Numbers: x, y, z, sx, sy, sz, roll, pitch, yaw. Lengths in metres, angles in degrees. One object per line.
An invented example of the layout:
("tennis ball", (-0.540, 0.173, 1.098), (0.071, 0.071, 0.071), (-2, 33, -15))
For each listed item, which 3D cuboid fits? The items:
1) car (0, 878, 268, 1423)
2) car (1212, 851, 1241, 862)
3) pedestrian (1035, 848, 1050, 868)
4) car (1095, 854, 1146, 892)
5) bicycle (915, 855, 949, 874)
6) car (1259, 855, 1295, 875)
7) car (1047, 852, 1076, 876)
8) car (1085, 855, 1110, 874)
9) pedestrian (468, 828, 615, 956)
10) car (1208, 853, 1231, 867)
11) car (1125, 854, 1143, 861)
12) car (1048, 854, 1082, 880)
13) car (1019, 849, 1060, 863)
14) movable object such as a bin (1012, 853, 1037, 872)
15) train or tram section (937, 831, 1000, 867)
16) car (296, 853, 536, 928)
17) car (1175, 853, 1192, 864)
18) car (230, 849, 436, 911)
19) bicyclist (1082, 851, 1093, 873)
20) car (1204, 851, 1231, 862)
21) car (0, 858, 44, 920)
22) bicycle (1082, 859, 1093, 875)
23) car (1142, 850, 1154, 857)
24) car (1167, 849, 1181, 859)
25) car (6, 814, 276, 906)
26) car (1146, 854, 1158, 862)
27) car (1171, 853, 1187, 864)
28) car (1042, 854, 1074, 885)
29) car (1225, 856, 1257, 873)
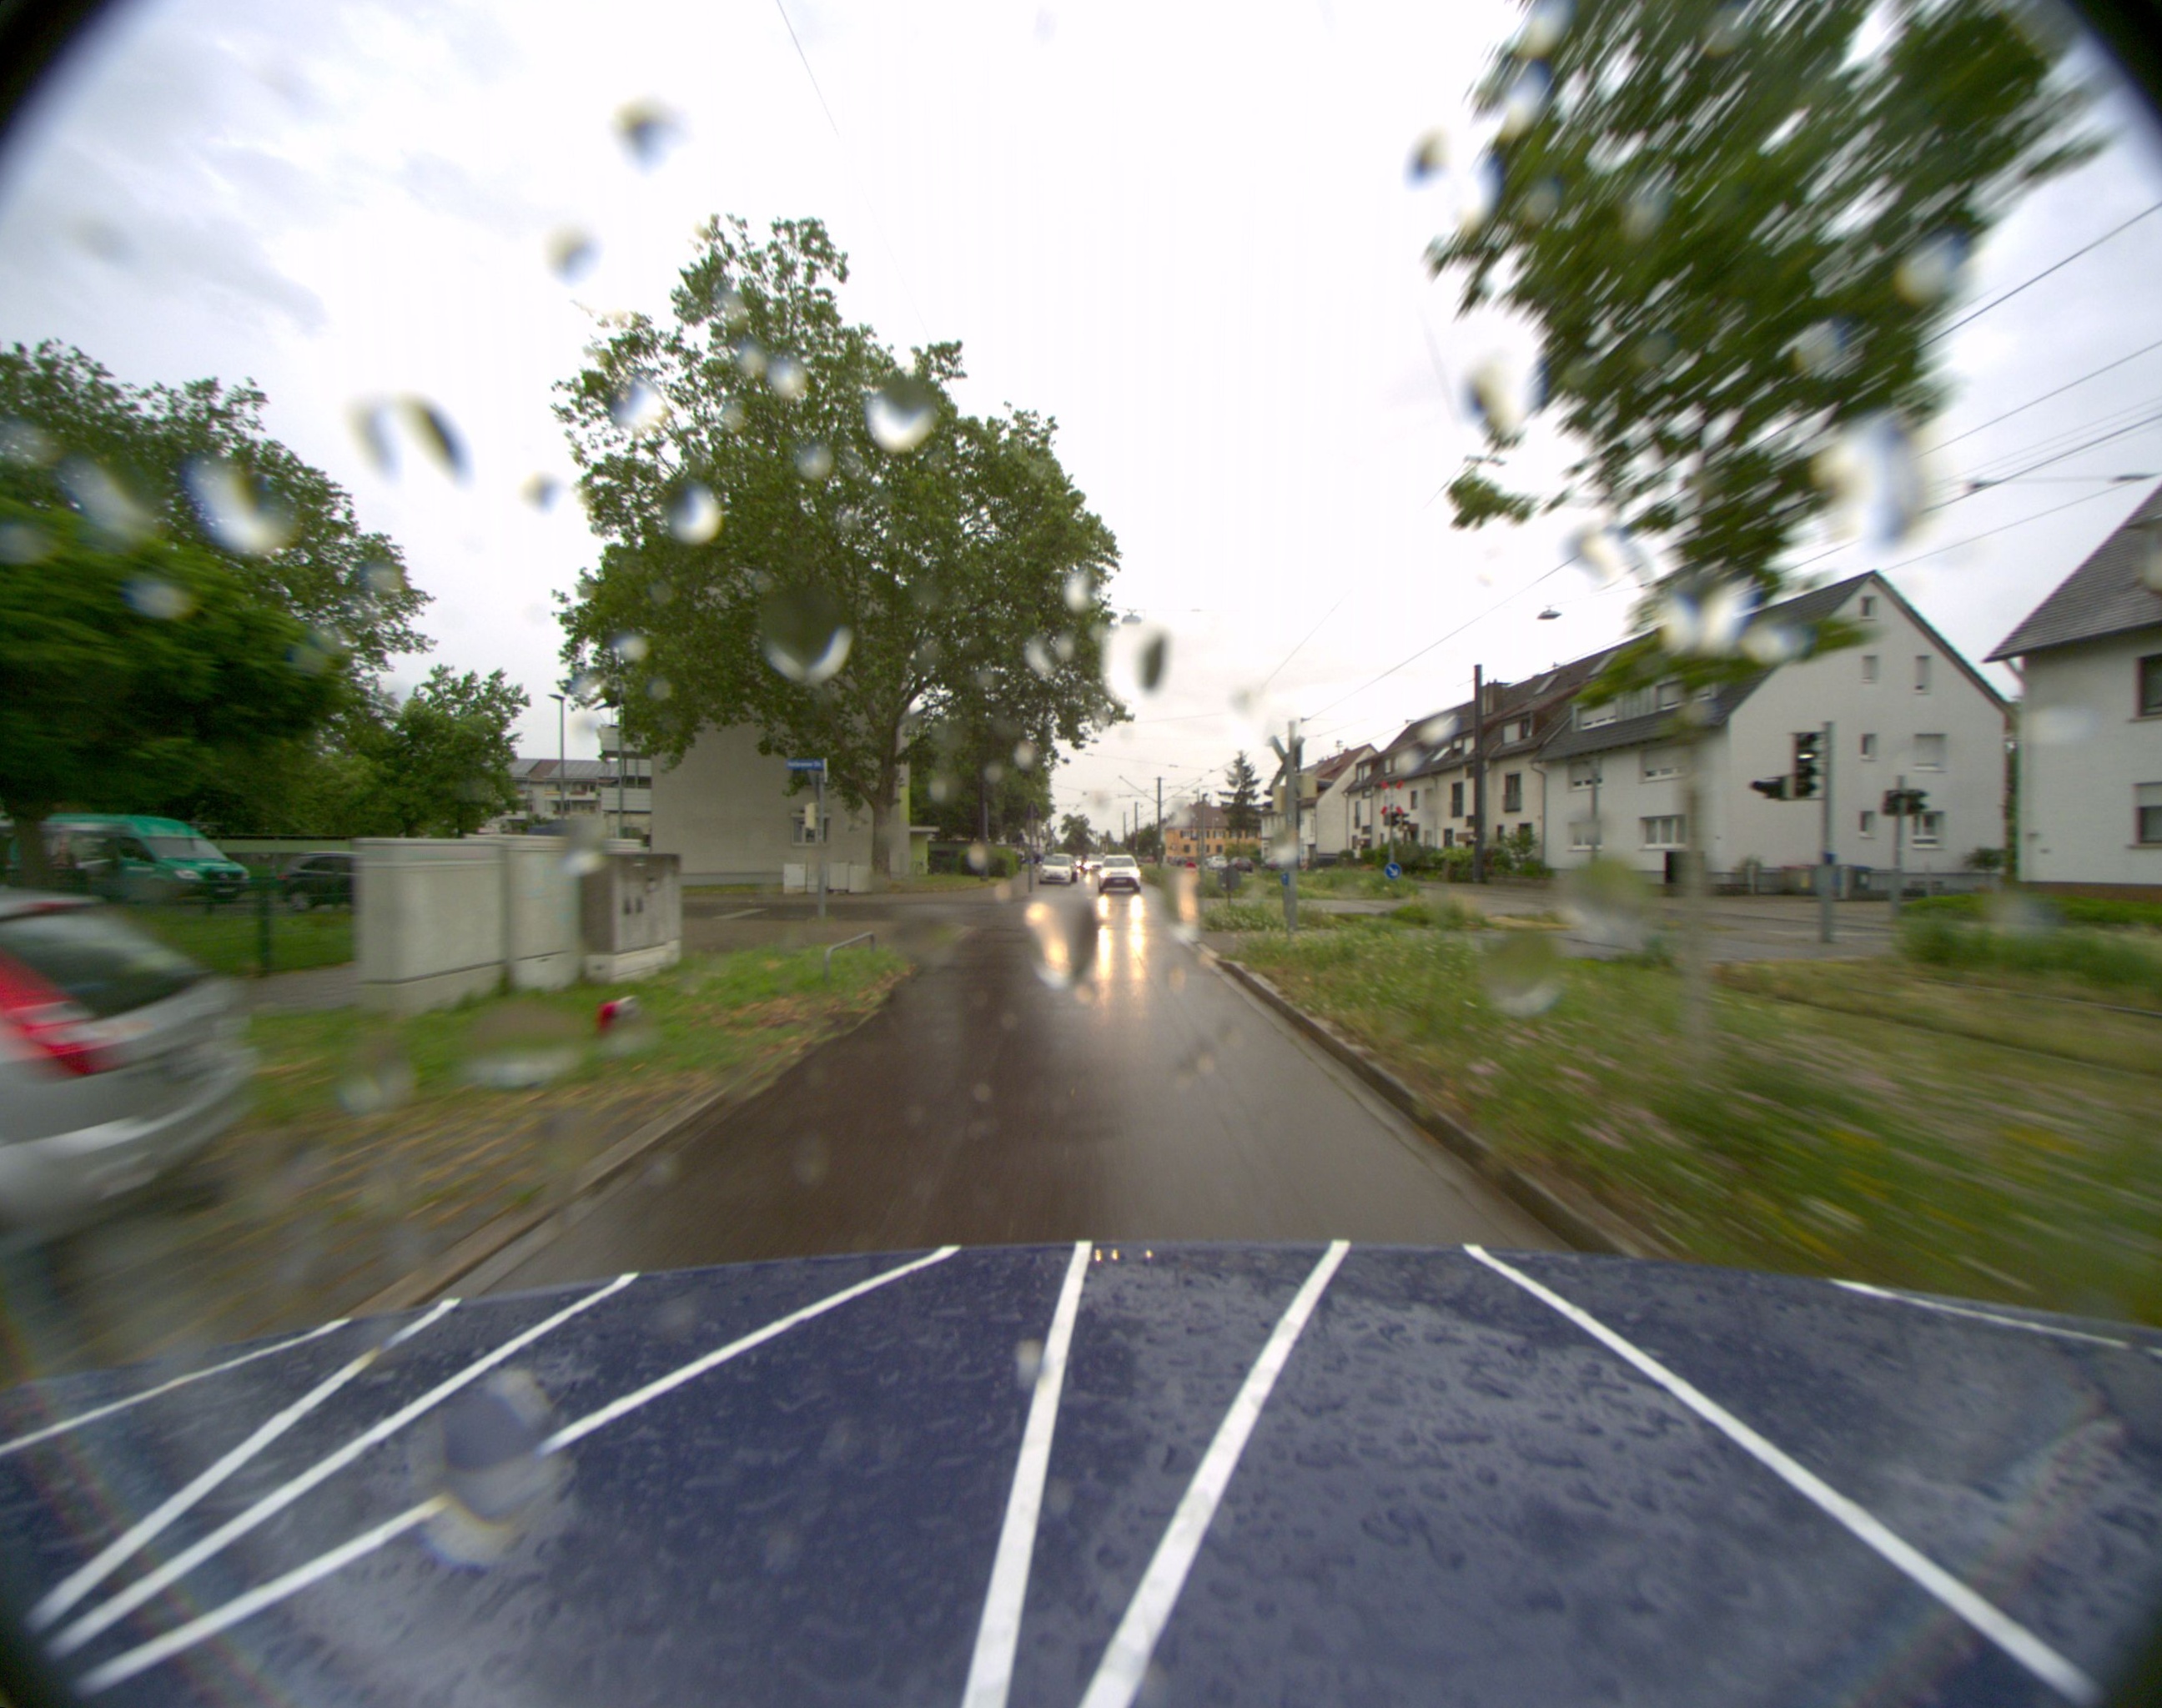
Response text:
("car", (-5.199, 0.882, 1.912), (4.008, 1.499, 1.779), (1, 2, -35))
("car", (21.349, 0.427, 111.444), (3.997, 1.586, 1.913), (0, 0, 1))
("pedestrian", (-3.333, 0.329, 66.179), (0.863, 1.764, 1.021), (1, 1, 24))
("car", (1.603, 0.753, 32.213), (1.854, 1.500, 4.119), (-1, 0, -2))
("bicycle", (-8.824, 0.624, 44.988), (1.864, 1.135, 0.532), (0, 0, -25))
("car", (15.530, 0.847, 60.367), (1.777, 1.417, 3.937), (1, 0, 0))
("car", (-1.367, 0.693, 52.724), (1.905, 1.566, 4.111), (1, 0, -2))
("car", (1.352, 0.848, 63.110), (1.854, 1.500, 4.119), (1, 0, -2))
("pedestrian", (-8.088, 0.527, 11.480), (1.101, 1.803, 1.435), (0, 1, 11))
("car", (15.309, 0.630, 84.266), (1.715, 1.432, 3.999), (1, 0, -2))
("car", (12.324, 0.757, 176.830), (3.998, 1.637, 1.893), (1, 0, -4))
("car", (-0.999, 0.714, 45.339), (1.905, 1.441, 4.183), (1, 0, -2))
("car", (-4.433, 0.224, 81.398), (4.007, 1.518, 1.715), (0, 1, -33))
("movable object such as a bin", (-4.243, 0.622, 57.030), (1.155, 1.432, 1.472), (0, 1, -40))
("train or tram section", (-10.865, -0.505, 72.844), (2.763, 3.320, 6.381), (0, 1, -44))
("car", (-16.116, 0.845, 18.579), (4.303, 1.671, 1.871), (1, 1, 3))
("car", (15.031, 0.704, 111.976), (1.912, 1.581, 3.999), (1, 0, -1))
("car", (-20.859, 0.700, 21.314), (3.997, 1.641, 1.776), (0, 0, 0))
("bicyclist", (0.463, 0.538, 53.282), (0.710, 1.503, 0.715), (1, 1, -1))
("car", (21.291, 0.394, 118.298), (3.993, 1.586, 1.915), (-1, 0, 13))
("car", (-28.665, 0.845, 18.511), (4.303, 1.497, 1.937), (1, 1, 3))
("bicycle", (0.446, 0.898, 53.324), (0.710, 1.031, 2.098), (0, 0, -1))
("car", (13.995, -0.068, 158.511), (2.096, 1.423, 4.076), (1, 0, -2))
("car", (15.355, -0.002, 125.554), (1.998, 1.648, 4.000), (-1, 1, 1))
("car", (-29.789, 0.176, 24.216), (6.133, 2.762, 2.187), (0, 0, 3))
("car", (13.974, 0.813, 149.796), (1.885, 1.423, 4.076), (1, 0, -2))
("car", (15.026, 0.687, 116.657), (1.881, 1.520, 3.999), (1, 0, -1))
("car", (-1.212, 0.779, 40.412), (1.562, 1.510, 3.999), (1, 0, -1))
("car", (15.327, 0.944, 73.088), (1.892, 1.523, 4.755), (1, 0, -2))
